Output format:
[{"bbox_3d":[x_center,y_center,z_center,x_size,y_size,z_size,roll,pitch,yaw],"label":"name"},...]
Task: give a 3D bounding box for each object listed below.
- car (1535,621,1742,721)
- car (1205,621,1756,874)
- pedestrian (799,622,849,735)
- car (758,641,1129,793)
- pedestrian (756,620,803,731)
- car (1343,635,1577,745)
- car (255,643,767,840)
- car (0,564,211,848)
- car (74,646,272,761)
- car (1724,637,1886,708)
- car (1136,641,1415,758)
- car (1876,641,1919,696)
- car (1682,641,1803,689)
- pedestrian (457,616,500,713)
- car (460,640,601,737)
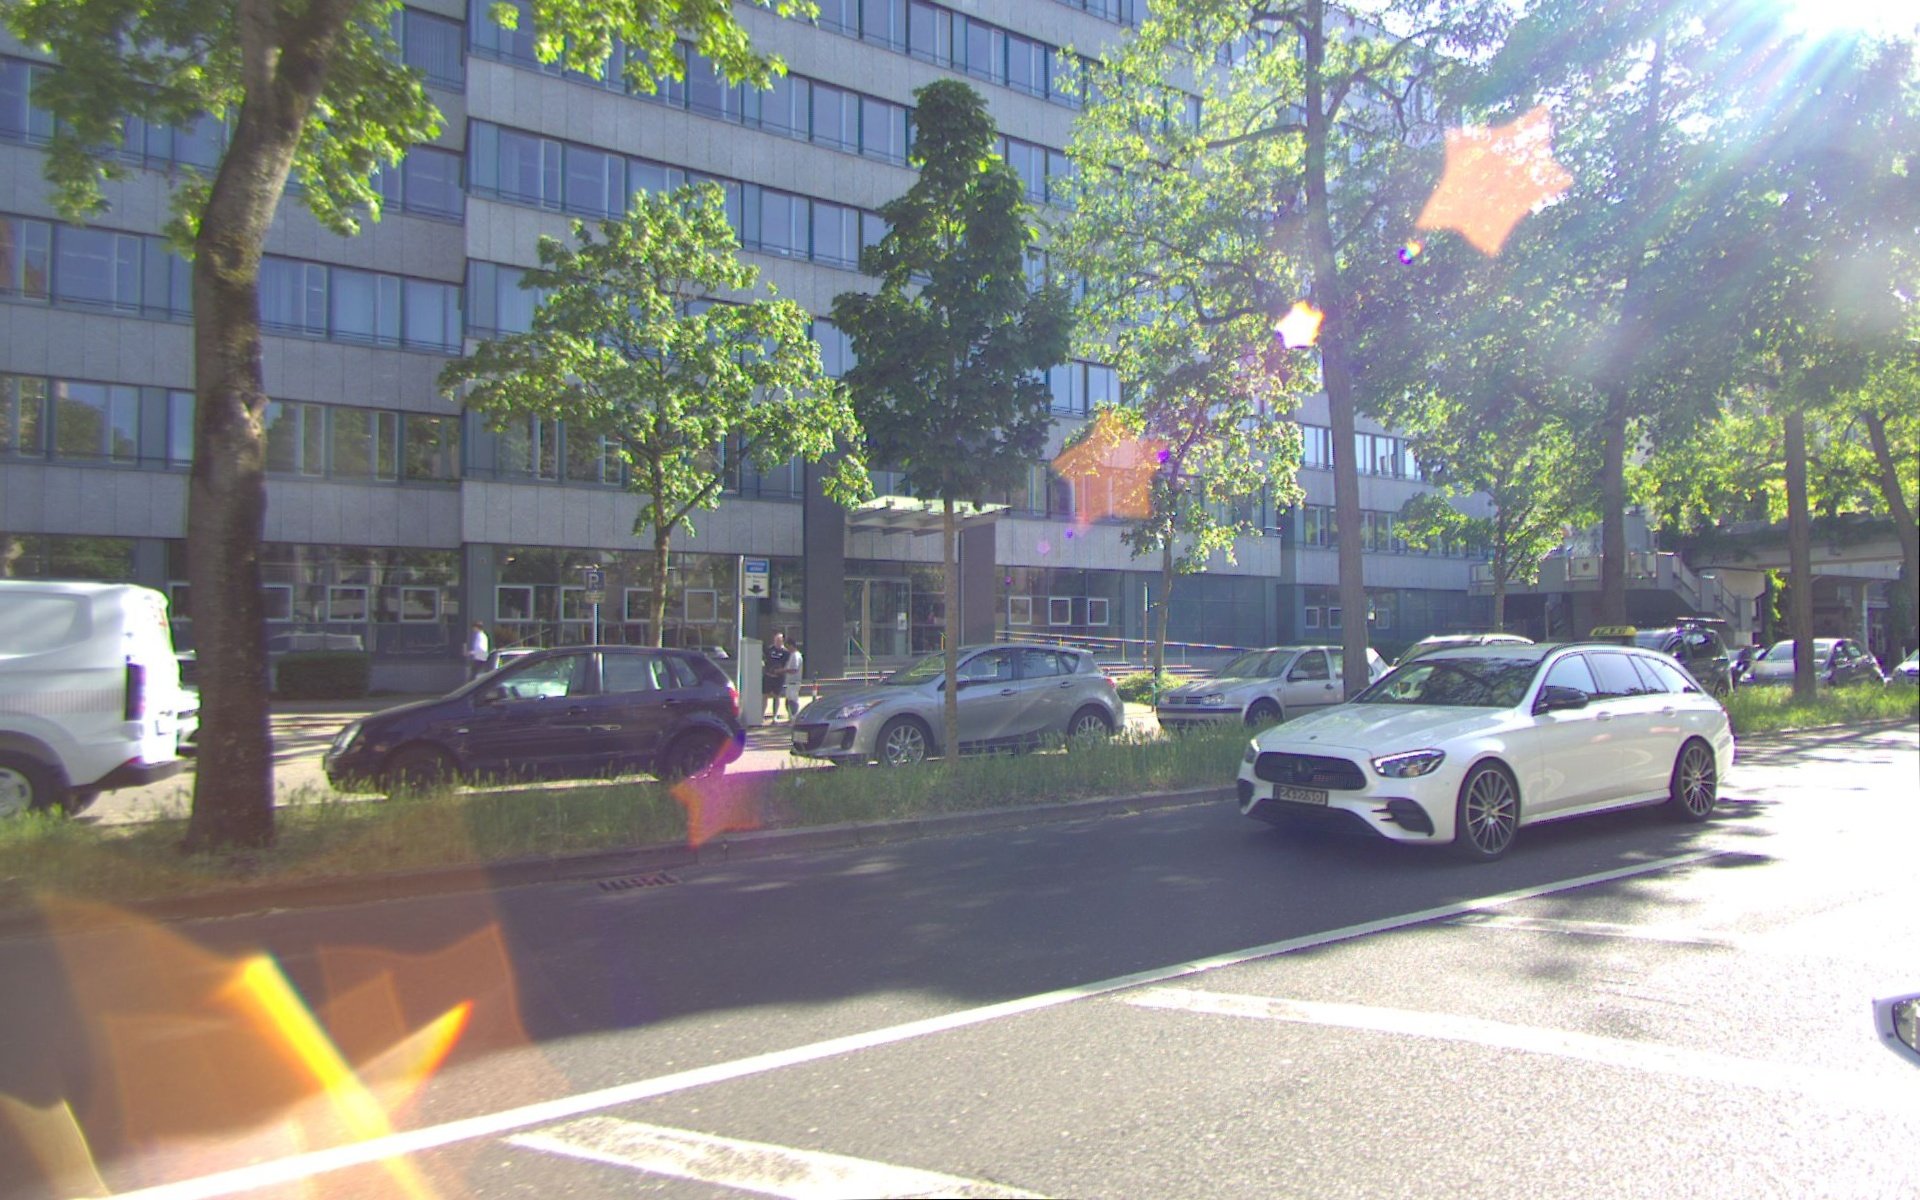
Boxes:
[{"bbox_3d":[14.064,1.378,20.775,4.510,1.874,1.846,1,-1,-31],"label":"car"},{"bbox_3d":[4.430,1.042,8.361,4.661,1.588,1.847,1,-5,-31],"label":"car"},{"bbox_3d":[-2.620,1.503,19.439,0.776,2.121,0.774,1,-1,3],"label":"pedestrian"},{"bbox_3d":[-0.144,1.300,12.427,4.268,1.543,1.847,1,-1,-31],"label":"car"},{"bbox_3d":[-3.567,1.469,19.787,0.761,2.121,0.789,2,-1,-18],"label":"pedestrian"},{"bbox_3d":[9.023,1.492,17.995,4.619,1.706,1.843,1,-2,-36],"label":"car"},{"bbox_3d":[-4.241,1.223,9.955,4.265,1.543,1.774,1,-1,-29],"label":"car"},{"bbox_3d":[-8.885,0.818,7.460,5.140,2.103,1.970,1,-4,-33],"label":"car"},{"bbox_3d":[-12.459,1.526,16.212,1.915,1.461,4.590,1,-2,-31],"label":"car"},{"bbox_3d":[20.821,1.713,24.738,3.825,1.589,1.847,1,-1,-30],"label":"car"},{"bbox_3d":[4.862,1.421,15.400,4.013,1.543,1.848,1,-1,-29],"label":"car"},{"bbox_3d":[29.044,2.000,29.653,4.269,1.543,1.846,1,-1,-31],"label":"car"},{"bbox_3d":[26.960,2.192,34.577,4.269,1.543,1.847,1,-3,-31],"label":"car"},{"bbox_3d":[-10.832,1.442,22.586,0.782,2.121,0.768,2,-1,-28],"label":"pedestrian"},{"bbox_3d":[-8.262,1.567,19.104,1.841,1.543,4.281,1,-2,-32],"label":"car"}]
